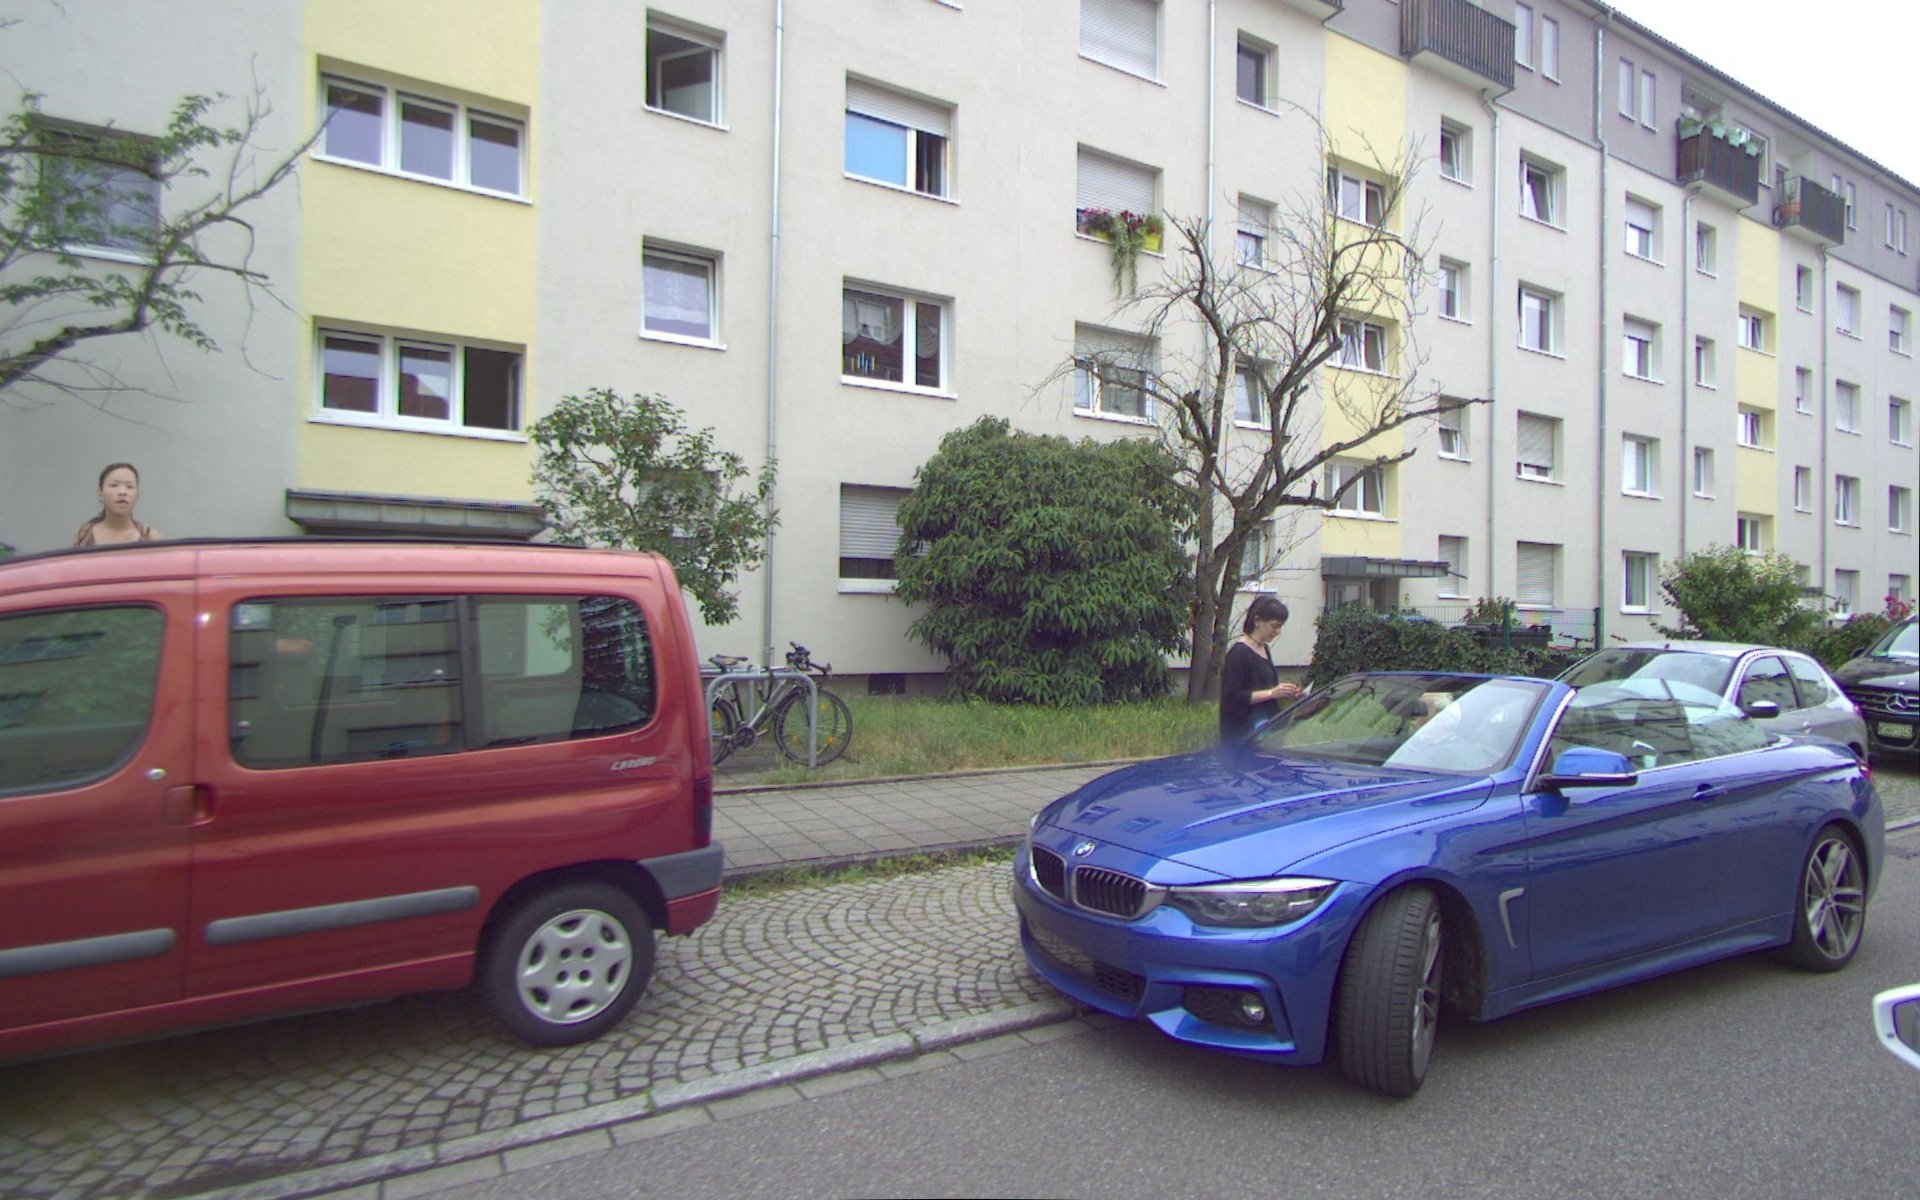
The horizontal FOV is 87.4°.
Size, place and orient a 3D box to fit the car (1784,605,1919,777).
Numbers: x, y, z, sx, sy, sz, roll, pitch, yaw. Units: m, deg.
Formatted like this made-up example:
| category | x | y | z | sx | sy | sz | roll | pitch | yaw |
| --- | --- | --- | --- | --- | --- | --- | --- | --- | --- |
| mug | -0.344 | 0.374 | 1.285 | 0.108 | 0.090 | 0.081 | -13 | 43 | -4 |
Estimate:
| category | x | y | z | sx | sy | sz | roll | pitch | yaw |
| --- | --- | --- | --- | --- | --- | --- | --- | --- | --- |
| car | 11.835 | 1.007 | 11.776 | 4.421 | 1.763 | 1.886 | 1 | 1 | -30 |

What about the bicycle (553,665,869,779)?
| category | x | y | z | sx | sy | sz | roll | pitch | yaw |
| --- | --- | --- | --- | --- | --- | --- | --- | --- | --- |
| bicycle | -2.177 | 1.049 | 9.082 | 2.725 | 0.859 | 0.568 | 1 | -2 | -31 |

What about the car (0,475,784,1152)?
| category | x | y | z | sx | sy | sz | roll | pitch | yaw |
| --- | --- | --- | --- | --- | --- | --- | --- | --- | --- |
| car | -3.010 | 0.564 | 3.512 | 4.313 | 1.794 | 1.946 | 1 | 0 | -32 |

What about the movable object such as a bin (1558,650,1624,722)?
| category | x | y | z | sx | sy | sz | roll | pitch | yaw |
| --- | --- | --- | --- | --- | --- | --- | --- | --- | --- |
| movable object such as a bin | 8.858 | 1.195 | 14.106 | 0.628 | 0.967 | 0.548 | 1 | -2 | -30 |

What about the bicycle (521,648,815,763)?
| category | x | y | z | sx | sy | sz | roll | pitch | yaw |
| --- | --- | --- | --- | --- | --- | --- | --- | --- | --- |
| bicycle | -2.871 | 0.997 | 10.062 | 2.725 | 1.012 | 0.773 | 1 | -2 | -31 |

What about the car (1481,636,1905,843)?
| category | x | y | z | sx | sy | sz | roll | pitch | yaw |
| --- | --- | --- | --- | --- | --- | --- | --- | --- | --- |
| car | 6.644 | 1.080 | 9.057 | 3.741 | 1.484 | 1.736 | 1 | -1 | -30 |

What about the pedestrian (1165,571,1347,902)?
| category | x | y | z | sx | sy | sz | roll | pitch | yaw |
| --- | --- | --- | --- | --- | --- | --- | --- | --- | --- |
| pedestrian | 1.710 | 0.727 | 5.788 | 0.733 | 1.724 | 0.791 | -1 | -2 | 43 |

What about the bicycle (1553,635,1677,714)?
| category | x | y | z | sx | sy | sz | roll | pitch | yaw |
| --- | --- | --- | --- | --- | --- | --- | --- | --- | --- |
| bicycle | 11.070 | 1.218 | 16.944 | 2.327 | 1.228 | 0.785 | 1 | -1 | -30 |

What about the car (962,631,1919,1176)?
| category | x | y | z | sx | sy | sz | roll | pitch | yaw |
| --- | --- | --- | --- | --- | --- | --- | --- | --- | --- |
| car | 2.393 | 0.910 | 4.687 | 4.446 | 1.470 | 1.837 | 1 | -1 | -29 |
